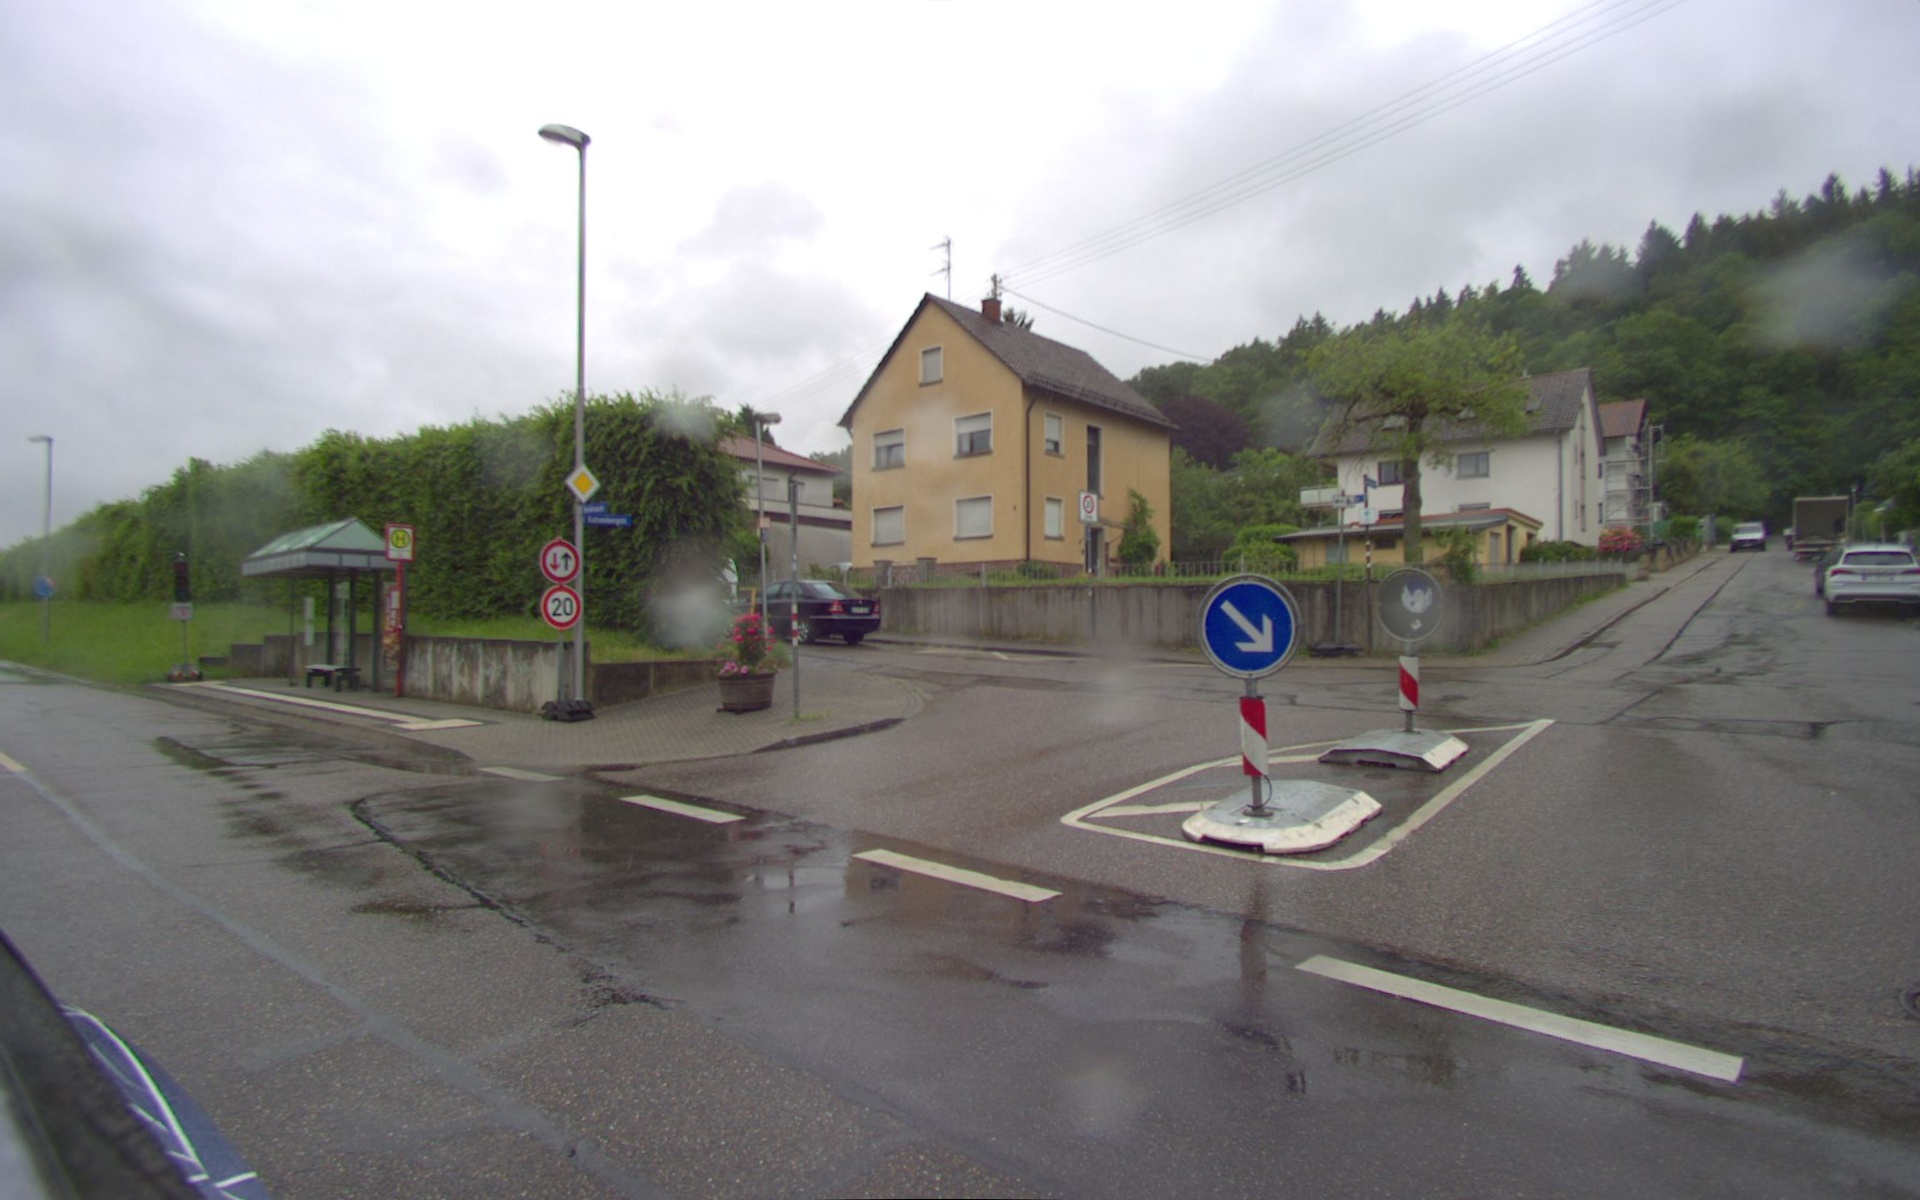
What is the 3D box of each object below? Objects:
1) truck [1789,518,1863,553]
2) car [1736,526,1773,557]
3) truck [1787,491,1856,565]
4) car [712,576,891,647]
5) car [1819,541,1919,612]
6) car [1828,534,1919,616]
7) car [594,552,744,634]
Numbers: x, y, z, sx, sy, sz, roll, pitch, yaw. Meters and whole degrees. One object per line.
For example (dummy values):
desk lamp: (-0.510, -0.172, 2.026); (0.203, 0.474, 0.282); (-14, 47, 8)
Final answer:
truck: (56.283, -4.162, 65.747); (5.980, 2.142, 2.306); (-2, 1, -36)
car: (53.875, -3.950, 68.661); (1.914, 2.028, 3.950); (0, 2, 37)
truck: (43.177, -3.505, 50.673); (2.452, 3.377, 6.567); (-1, 1, 41)
car: (-3.706, 0.214, 23.212); (4.221, 1.399, 1.726); (2, 1, 41)
car: (24.207, -0.665, 27.004); (1.900, 1.525, 3.840); (0, 6, 41)
car: (20.999, -0.611, 22.981); (1.900, 1.525, 3.840); (0, 6, 41)
car: (-7.869, -0.241, 27.188); (4.318, 2.020, 1.765); (2, 1, 41)
